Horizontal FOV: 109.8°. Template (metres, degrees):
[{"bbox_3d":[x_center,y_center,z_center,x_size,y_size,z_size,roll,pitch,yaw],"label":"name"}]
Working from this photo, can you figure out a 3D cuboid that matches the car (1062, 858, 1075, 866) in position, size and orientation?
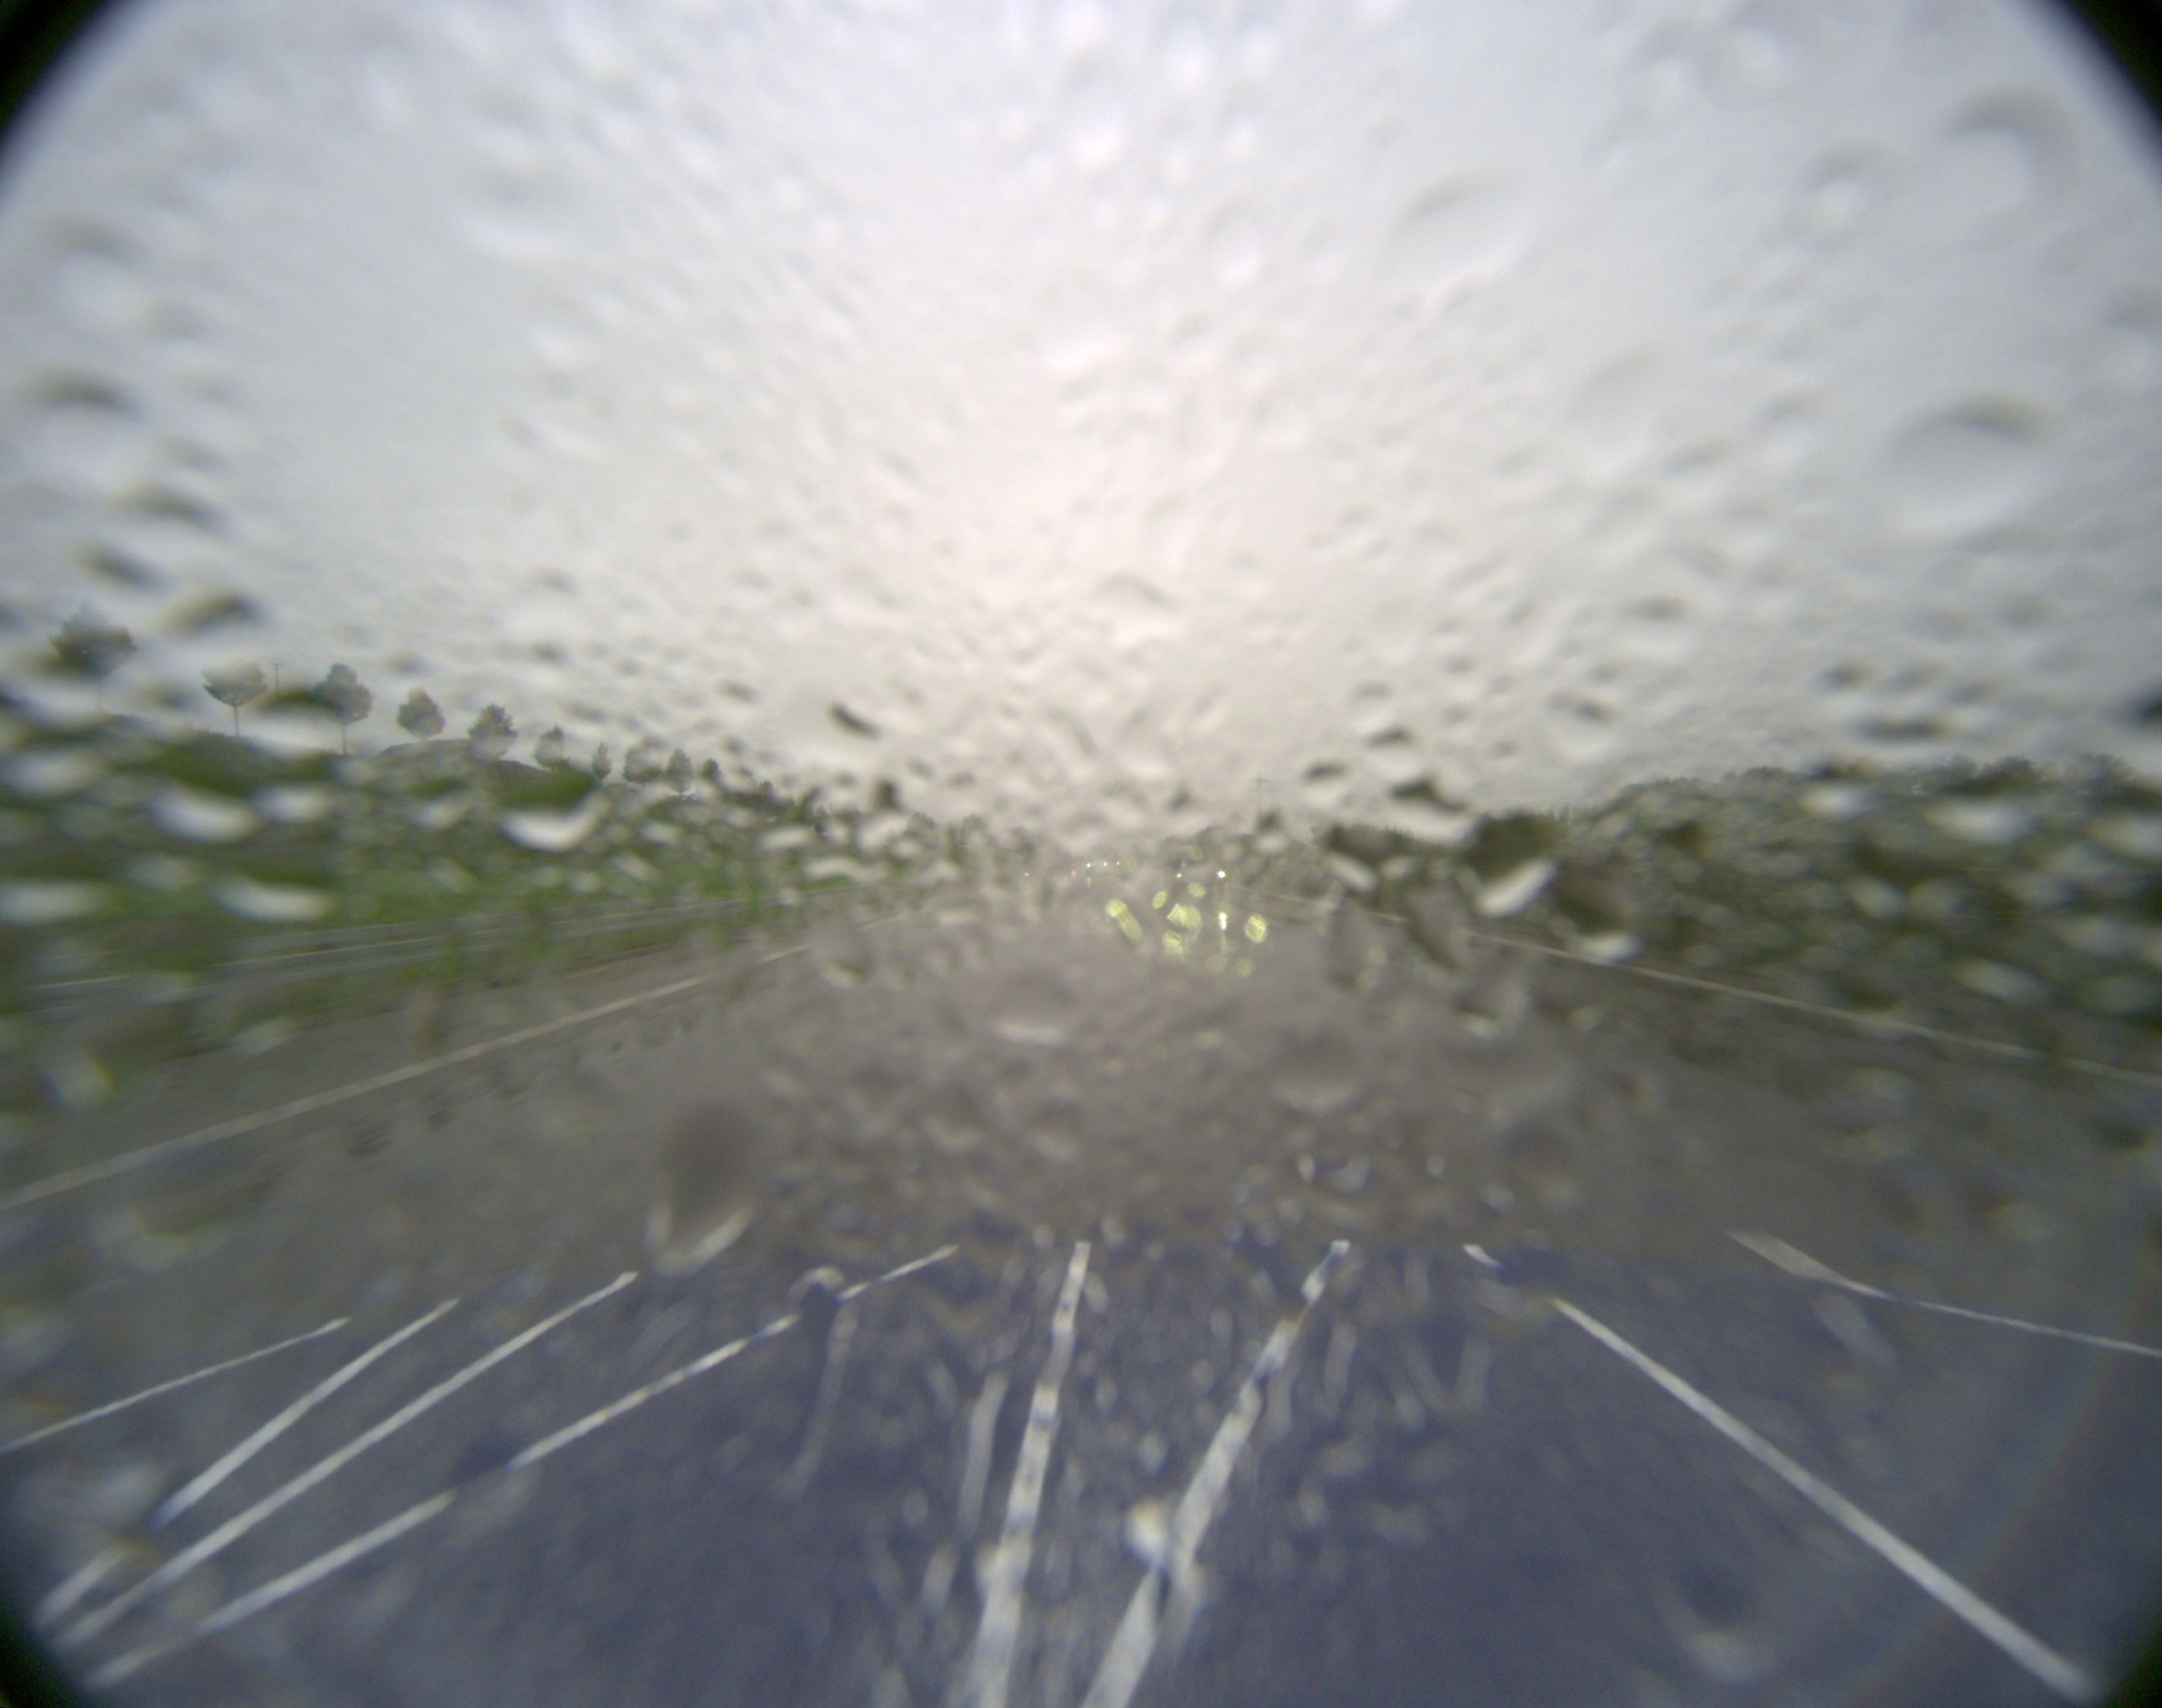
[{"bbox_3d":[-1.956,1.252,118.808,1.753,1.205,4.000,-3,0,1],"label":"car"}]

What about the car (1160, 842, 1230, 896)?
[{"bbox_3d":[4.145,0.502,28.273,2.047,1.763,4.501,-2,0,3],"label":"car"}]

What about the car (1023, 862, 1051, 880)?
[{"bbox_3d":[-3.311,1.266,58.100,1.753,1.205,4.000,-3,0,1],"label":"car"}]

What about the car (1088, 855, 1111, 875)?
[{"bbox_3d":[1.492,0.868,62.288,1.753,1.406,4.000,-3,0,1],"label":"car"}]

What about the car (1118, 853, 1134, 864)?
[{"bbox_3d":[5.953,0.593,100.714,1.753,1.369,4.000,-3,0,1],"label":"car"}]
